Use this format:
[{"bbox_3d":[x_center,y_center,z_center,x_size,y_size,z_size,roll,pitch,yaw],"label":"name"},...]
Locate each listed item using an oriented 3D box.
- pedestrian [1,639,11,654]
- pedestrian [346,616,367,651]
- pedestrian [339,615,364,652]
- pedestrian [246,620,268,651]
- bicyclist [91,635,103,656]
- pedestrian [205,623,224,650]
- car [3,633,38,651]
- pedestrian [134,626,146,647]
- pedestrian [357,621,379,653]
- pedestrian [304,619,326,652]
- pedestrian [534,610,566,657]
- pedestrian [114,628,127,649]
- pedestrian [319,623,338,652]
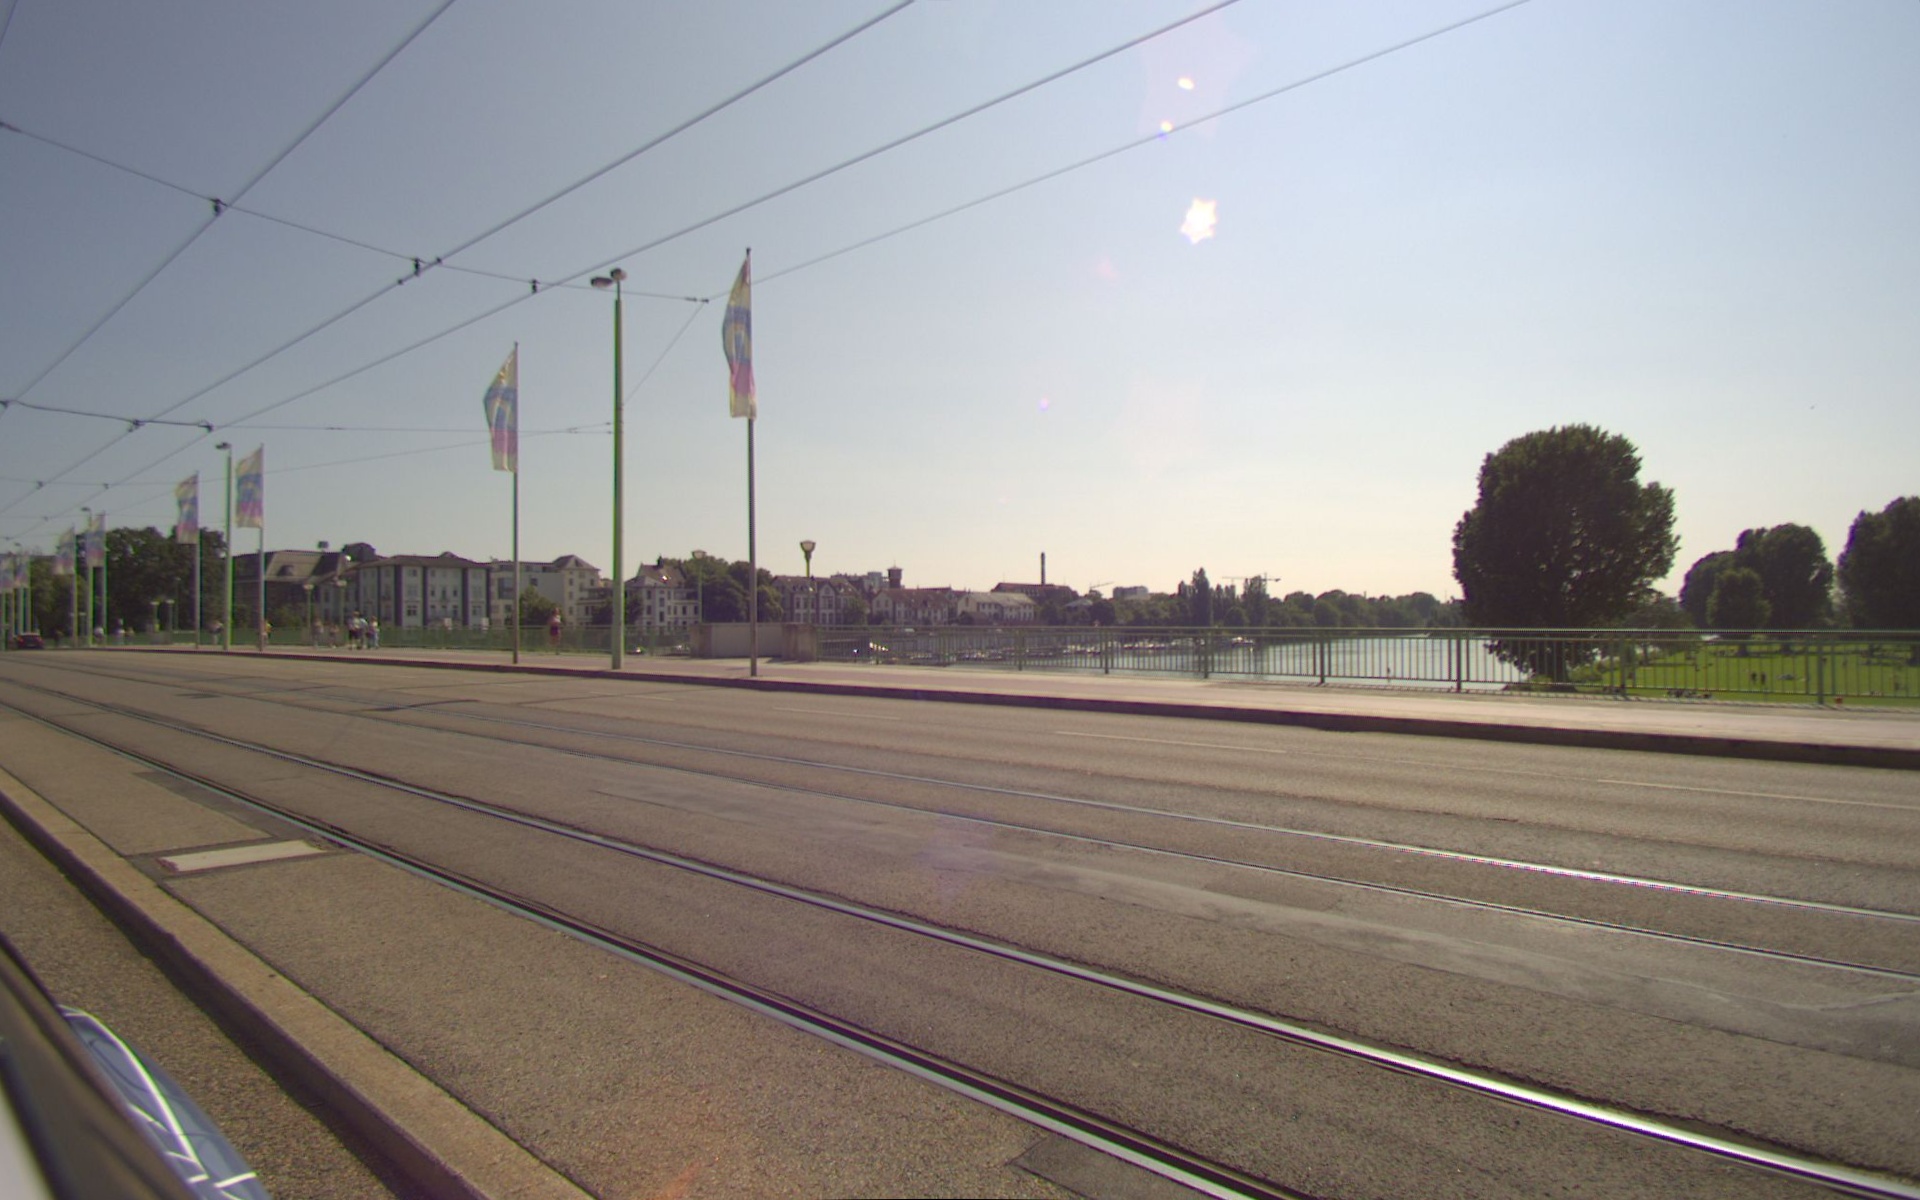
[{"bbox_3d":[-116.832,5.698,123.904,1.022,1.712,0.777,-1,1,41],"label":"pedestrian"},{"bbox_3d":[-30.239,1.686,50.727,1.022,1.712,0.584,-1,0,41],"label":"pedestrian"},{"bbox_3d":[-28.359,1.554,47.183,1.022,1.712,0.663,-1,0,41],"label":"pedestrian"},{"bbox_3d":[-39.960,2.008,57.538,1.022,1.712,0.777,-1,1,41],"label":"pedestrian"},{"bbox_3d":[-70.545,3.698,82.746,0.621,1.663,0.657,-2,-2,41],"label":"bicyclist"},{"bbox_3d":[-48.579,2.395,65.938,1.022,1.712,0.777,-1,1,41],"label":"pedestrian"},{"bbox_3d":[-77.305,3.417,83.241,3.899,1.465,1.698,-1,-2,41],"label":"car"},{"bbox_3d":[-69.602,3.128,85.892,0.904,1.712,0.584,-2,3,41],"label":"pedestrian"},{"bbox_3d":[-27.913,1.737,47.707,1.022,1.425,0.584,-1,0,41],"label":"pedestrian"},{"bbox_3d":[-32.671,1.804,51.252,1.022,1.611,0.620,-1,0,41],"label":"pedestrian"},{"bbox_3d":[-15.235,1.240,37.590,1.022,1.703,0.677,-1,0,41],"label":"pedestrian"},{"bbox_3d":[-72.472,3.309,87.374,1.022,1.712,0.584,-2,3,41],"label":"pedestrian"},{"bbox_3d":[-32.334,1.935,51.814,0.788,1.448,0.540,-1,0,41],"label":"pedestrian"}]
